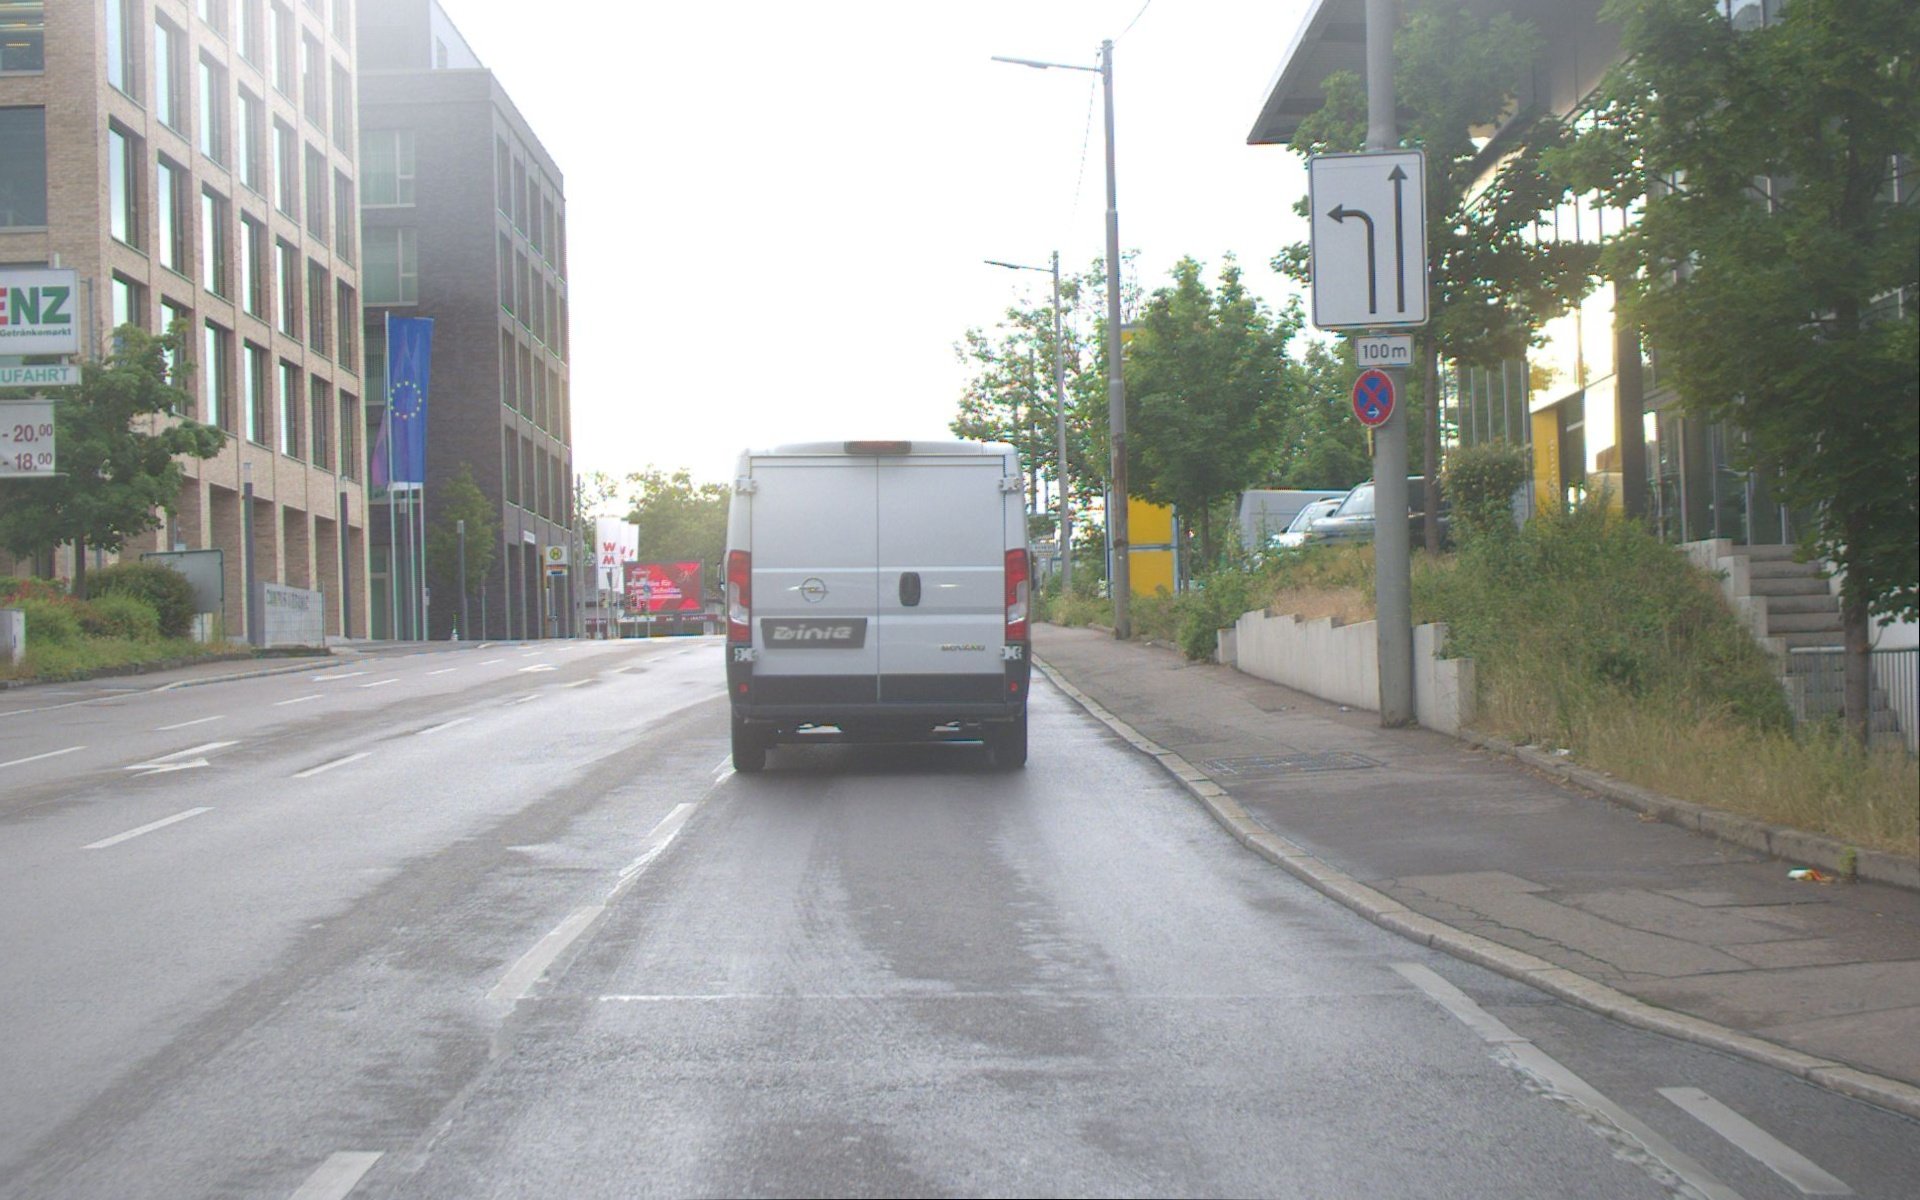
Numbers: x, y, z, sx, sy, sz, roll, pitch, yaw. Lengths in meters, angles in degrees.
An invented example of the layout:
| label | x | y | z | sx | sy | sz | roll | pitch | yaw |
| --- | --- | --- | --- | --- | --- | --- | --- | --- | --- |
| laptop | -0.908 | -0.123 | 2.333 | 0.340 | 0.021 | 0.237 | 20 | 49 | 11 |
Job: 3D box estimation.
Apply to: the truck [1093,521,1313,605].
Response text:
| label | x | y | z | sx | sy | sz | roll | pitch | yaw |
| --- | --- | --- | --- | --- | --- | --- | --- | --- | --- |
| truck | 5.934 | -0.924 | 84.465 | 5.147 | 2.007 | 2.345 | 0 | 1 | -2 |

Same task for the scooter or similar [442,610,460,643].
| label | x | y | z | sx | sy | sz | roll | pitch | yaw |
| --- | --- | --- | --- | --- | --- | --- | --- | --- | --- |
| scooter or similar | -16.709 | 0.858 | 112.888 | 0.351 | 1.068 | 1.428 | 0 | -1 | 0 |

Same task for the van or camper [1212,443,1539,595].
| label | x | y | z | sx | sy | sz | roll | pitch | yaw |
| --- | --- | --- | --- | --- | --- | --- | --- | --- | --- |
| van or camper | 7.627 | -1.491 | 63.590 | 5.736 | 2.714 | 2.352 | 0 | 1 | 0 |

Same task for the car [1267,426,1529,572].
| label | x | y | z | sx | sy | sz | roll | pitch | yaw |
| --- | --- | --- | --- | --- | --- | --- | --- | --- | --- |
| car | 5.764 | -1.288 | 44.784 | 1.996 | 1.705 | 4.422 | -3 | 0 | 26 |

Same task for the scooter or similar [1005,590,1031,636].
| label | x | y | z | sx | sy | sz | roll | pitch | yaw |
| --- | --- | --- | --- | --- | --- | --- | --- | --- | --- |
| scooter or similar | 2.039 | 0.443 | 120.822 | 0.434 | 1.582 | 1.273 | -1 | 1 | -23 |

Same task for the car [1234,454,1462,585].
| label | x | y | z | sx | sy | sz | roll | pitch | yaw |
| --- | --- | --- | --- | --- | --- | --- | --- | --- | --- |
| car | 5.655 | -1.146 | 49.577 | 1.996 | 1.705 | 4.573 | -3 | 0 | 23 |

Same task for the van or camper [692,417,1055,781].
| label | x | y | z | sx | sy | sz | roll | pitch | yaw |
| --- | --- | --- | --- | --- | --- | --- | --- | --- | --- |
| van or camper | -0.551 | -0.051 | 24.892 | 2.340 | 2.349 | 5.199 | 0 | 1 | 0 |
